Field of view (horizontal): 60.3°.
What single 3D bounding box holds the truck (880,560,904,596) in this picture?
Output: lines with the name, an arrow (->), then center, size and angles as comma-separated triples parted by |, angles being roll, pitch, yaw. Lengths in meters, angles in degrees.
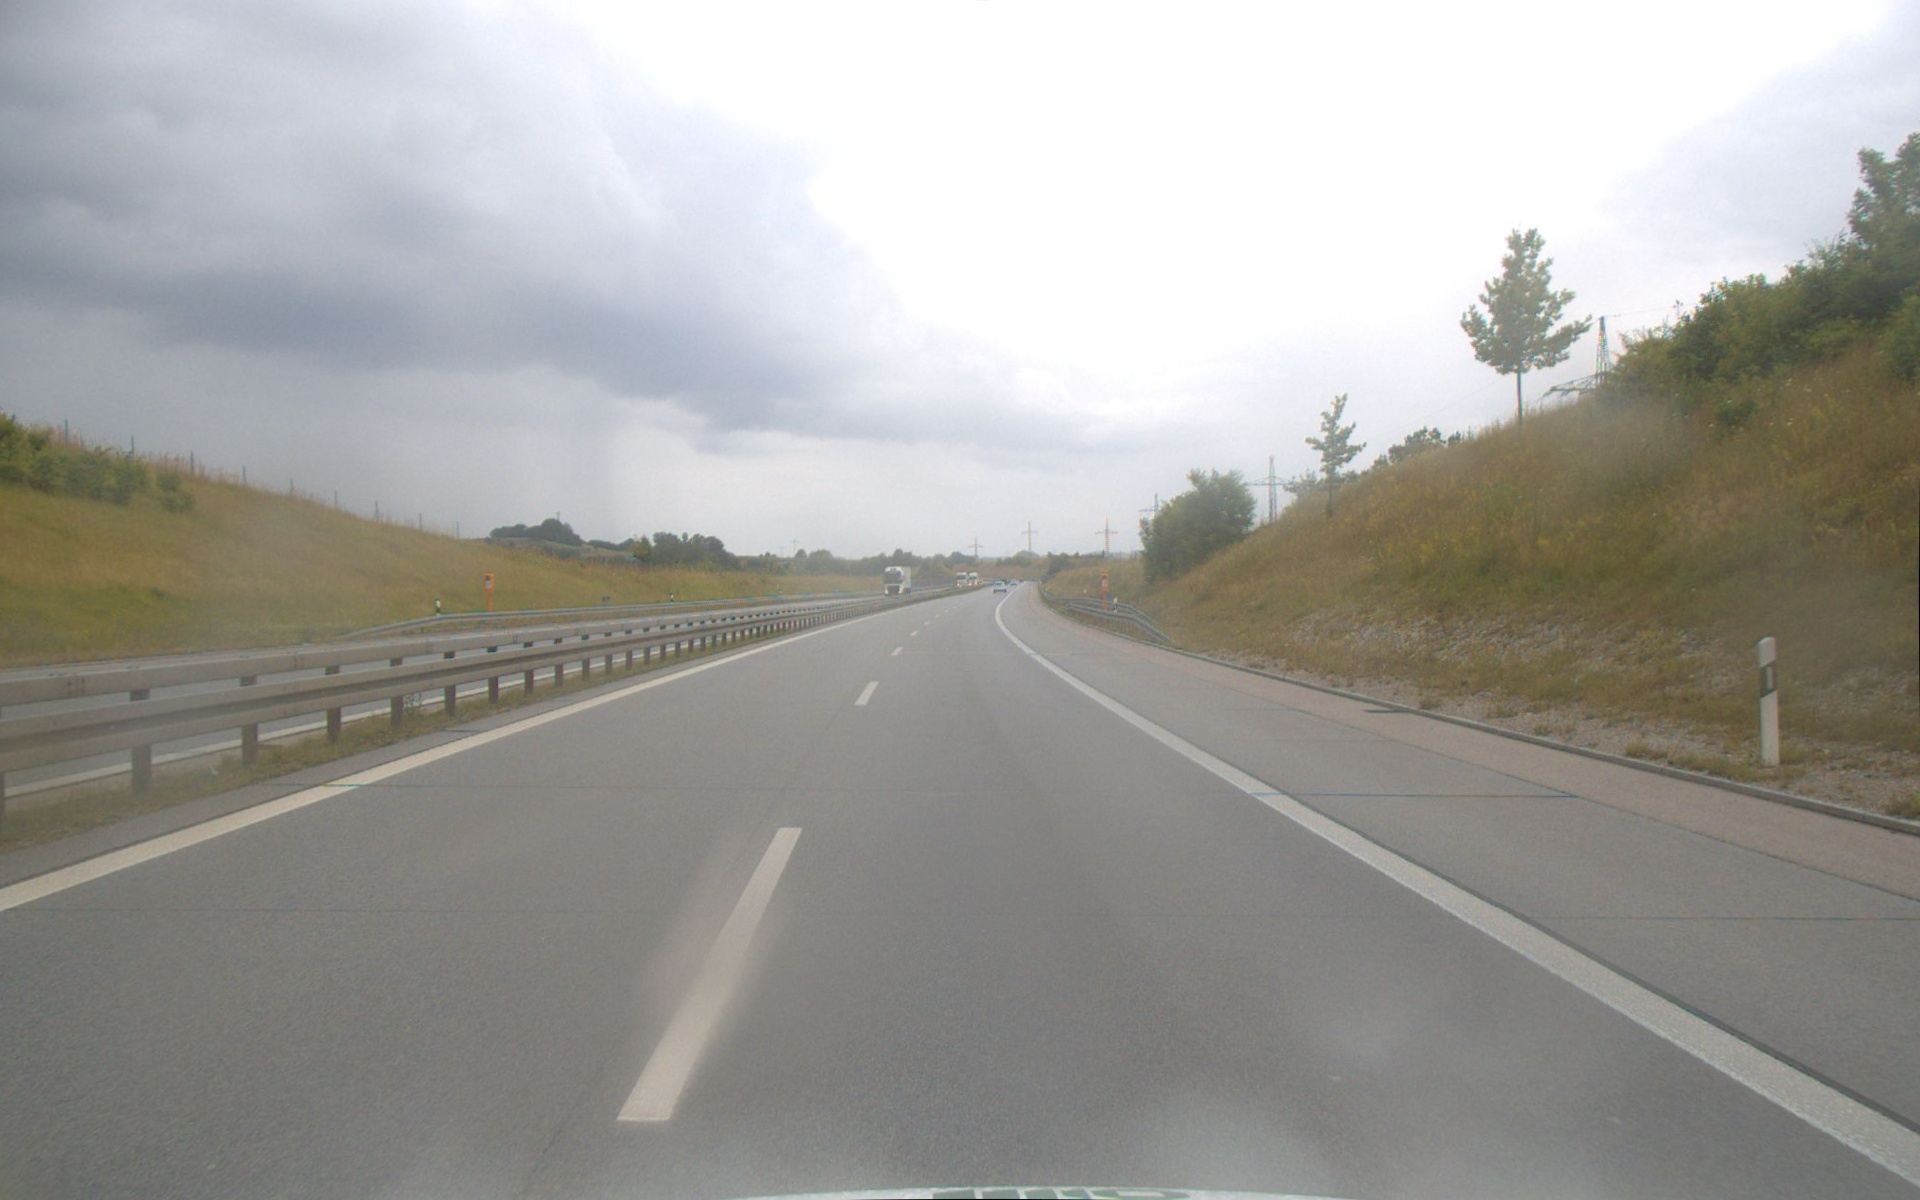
truck -> -9.244, -3.005, 225.873 | 2.737, 4.728, 6.922 | -1, 1, 2

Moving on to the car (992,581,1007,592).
car -> 5.989, -2.032, 249.284 | 1.915, 1.680, 4.002 | 0, 0, 5
